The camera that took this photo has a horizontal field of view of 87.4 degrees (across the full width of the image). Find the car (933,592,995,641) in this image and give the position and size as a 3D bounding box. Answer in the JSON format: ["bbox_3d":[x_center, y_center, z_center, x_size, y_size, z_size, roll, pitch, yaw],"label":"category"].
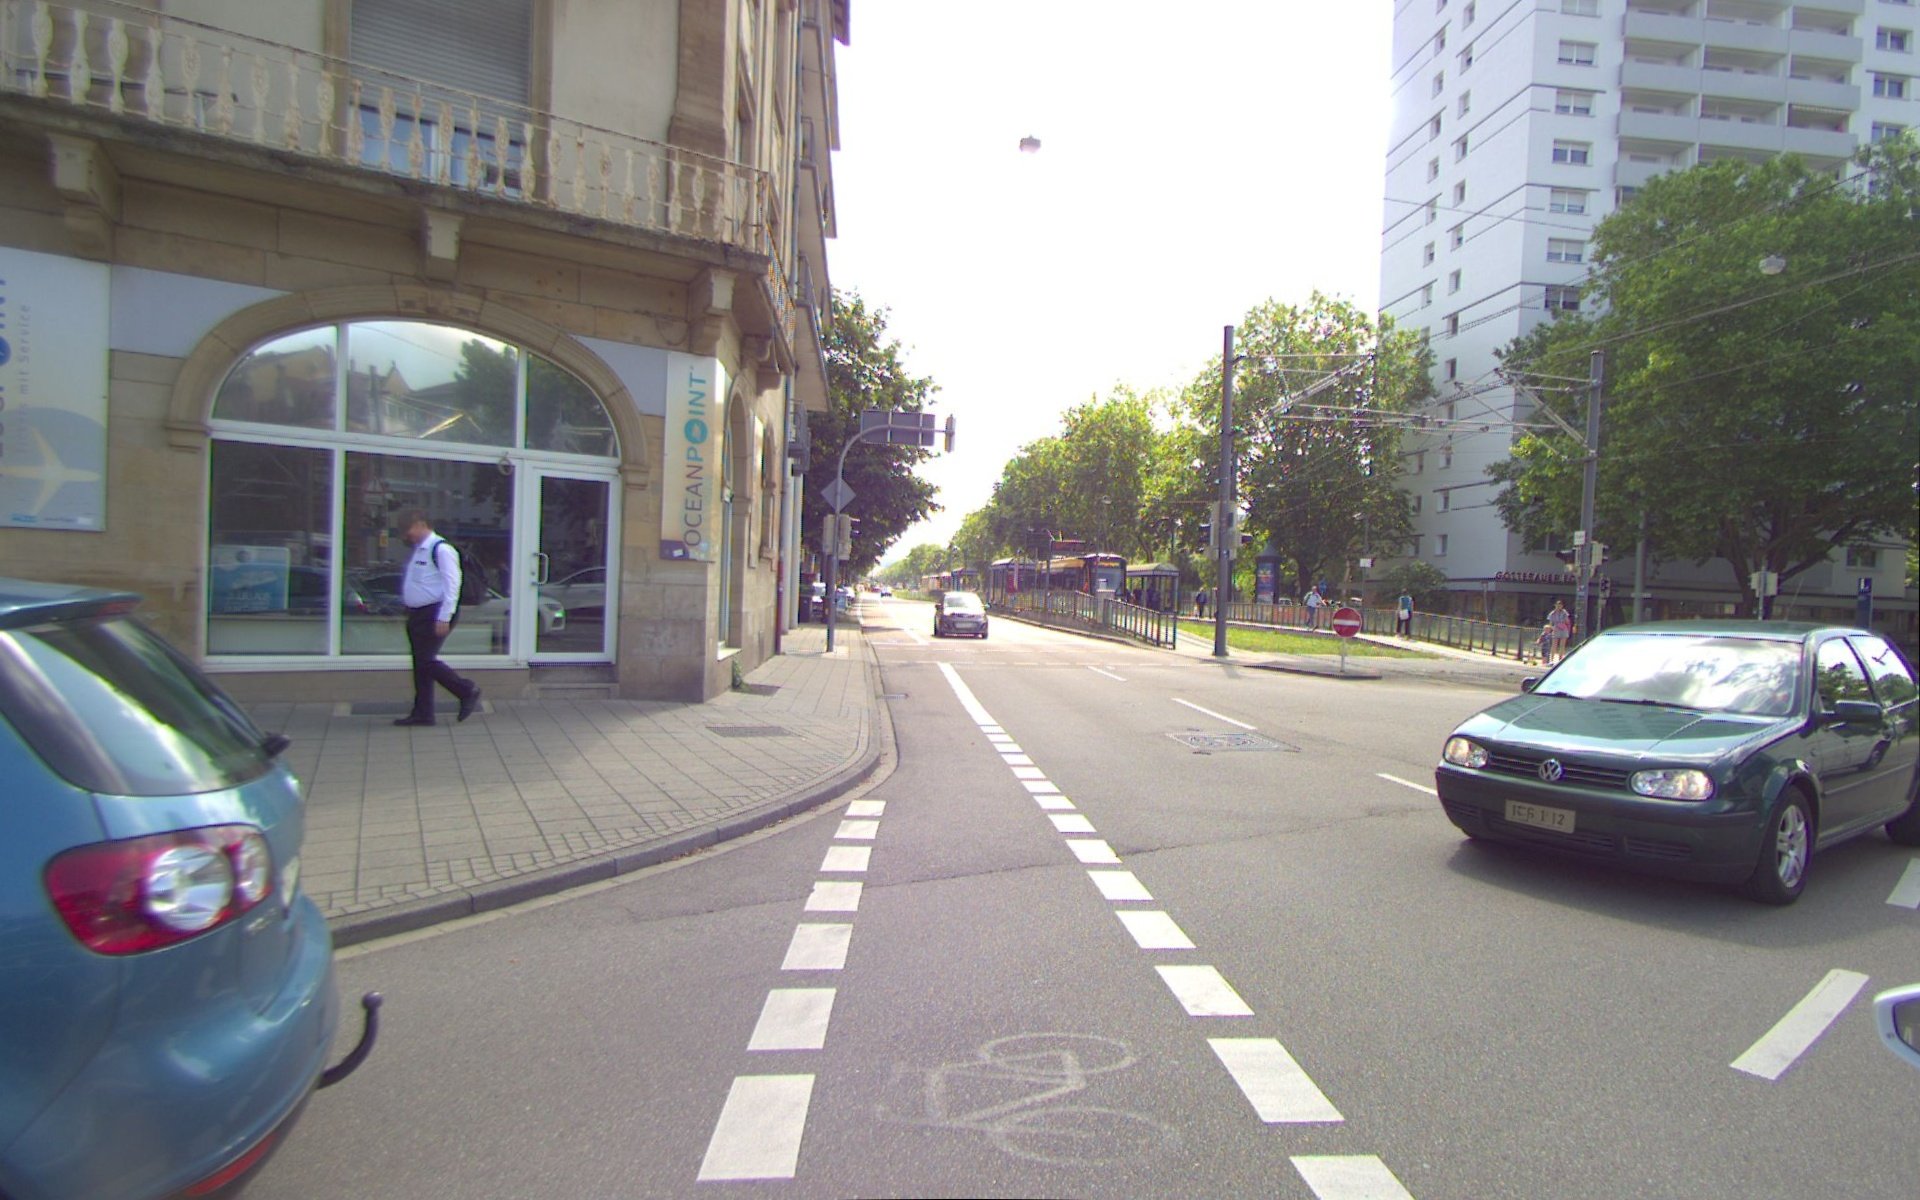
[{"bbox_3d":[0.089,0.501,33.537,1.608,1.458,3.639,2,1,-7],"label":"car"}]

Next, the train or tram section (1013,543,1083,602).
[{"bbox_3d":[5.829,-1.801,68.551,2.752,3.632,10.394,3,1,-5],"label":"train or tram section"}]

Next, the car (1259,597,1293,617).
[{"bbox_3d":[31.964,0.703,101.623,1.778,1.839,4.336,2,1,-4],"label":"car"}]

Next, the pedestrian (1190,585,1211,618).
[{"bbox_3d":[13.192,0.075,55.135,0.844,1.798,0.876,2,1,-5],"label":"pedestrian"}]

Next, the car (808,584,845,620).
[{"bbox_3d":[-6.423,0.081,48.372,1.628,1.600,3.472,2,1,-7],"label":"car"}]

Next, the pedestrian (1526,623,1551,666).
[{"bbox_3d":[15.072,1.145,26.184,0.412,1.077,0.437,3,1,14],"label":"pedestrian"}]

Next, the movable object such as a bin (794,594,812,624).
[{"bbox_3d":[-6.115,0.339,39.059,0.639,1.132,0.786,2,1,-10],"label":"movable object such as a bin"}]

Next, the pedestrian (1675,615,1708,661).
[{"bbox_3d":[26.935,1.382,36.974,0.525,1.620,0.783,2,1,-8],"label":"pedestrian"}]

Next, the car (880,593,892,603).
[{"bbox_3d":[-10.940,-0.270,147.681,1.629,1.390,3.473,2,1,-6],"label":"car"}]

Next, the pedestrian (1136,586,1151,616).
[{"bbox_3d":[11.764,0.075,64.472,0.690,1.874,0.788,2,1,-6],"label":"pedestrian"}]

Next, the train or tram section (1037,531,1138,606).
[{"bbox_3d":[6.889,-1.652,56.871,2.763,3.632,13.003,3,1,-5],"label":"train or tram section"}]

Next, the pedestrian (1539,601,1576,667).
[{"bbox_3d":[15.656,0.887,26.329,0.613,1.688,0.676,2,1,14],"label":"pedestrian"}]

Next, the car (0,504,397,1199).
[{"bbox_3d":[-3.159,0.603,1.585,3.888,1.561,1.738,2,-1,-32],"label":"car"}]

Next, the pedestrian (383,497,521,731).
[{"bbox_3d":[-4.395,0.127,8.683,0.895,1.884,0.798,5,0,-30],"label":"pedestrian"}]

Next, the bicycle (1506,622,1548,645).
[{"bbox_3d":[27.821,1.656,49.346,1.695,1.023,0.534,3,1,22],"label":"bicycle"}]

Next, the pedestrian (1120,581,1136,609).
[{"bbox_3d":[11.604,-0.320,69.512,0.798,1.898,1.030,2,1,-6],"label":"pedestrian"}]

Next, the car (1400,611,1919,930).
[{"bbox_3d":[4.702,0.832,6.406,3.777,1.452,1.703,1,0,-33],"label":"car"}]

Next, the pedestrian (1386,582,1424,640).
[{"bbox_3d":[15.339,0.364,34.639,0.814,1.924,0.845,2,1,-5],"label":"pedestrian"}]

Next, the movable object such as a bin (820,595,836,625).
[{"bbox_3d":[-5.165,0.385,39.282,0.582,1.132,0.786,2,1,-10],"label":"movable object such as a bin"}]

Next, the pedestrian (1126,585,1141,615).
[{"bbox_3d":[11.101,-0.012,64.264,0.690,1.874,0.907,2,1,-6],"label":"pedestrian"}]

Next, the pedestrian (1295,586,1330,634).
[{"bbox_3d":[13.605,0.368,38.785,0.835,1.804,1.044,2,1,-5],"label":"pedestrian"}]

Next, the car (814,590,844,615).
[{"bbox_3d":[-8.066,0.142,62.251,1.692,1.390,3.473,2,1,-6],"label":"car"}]
